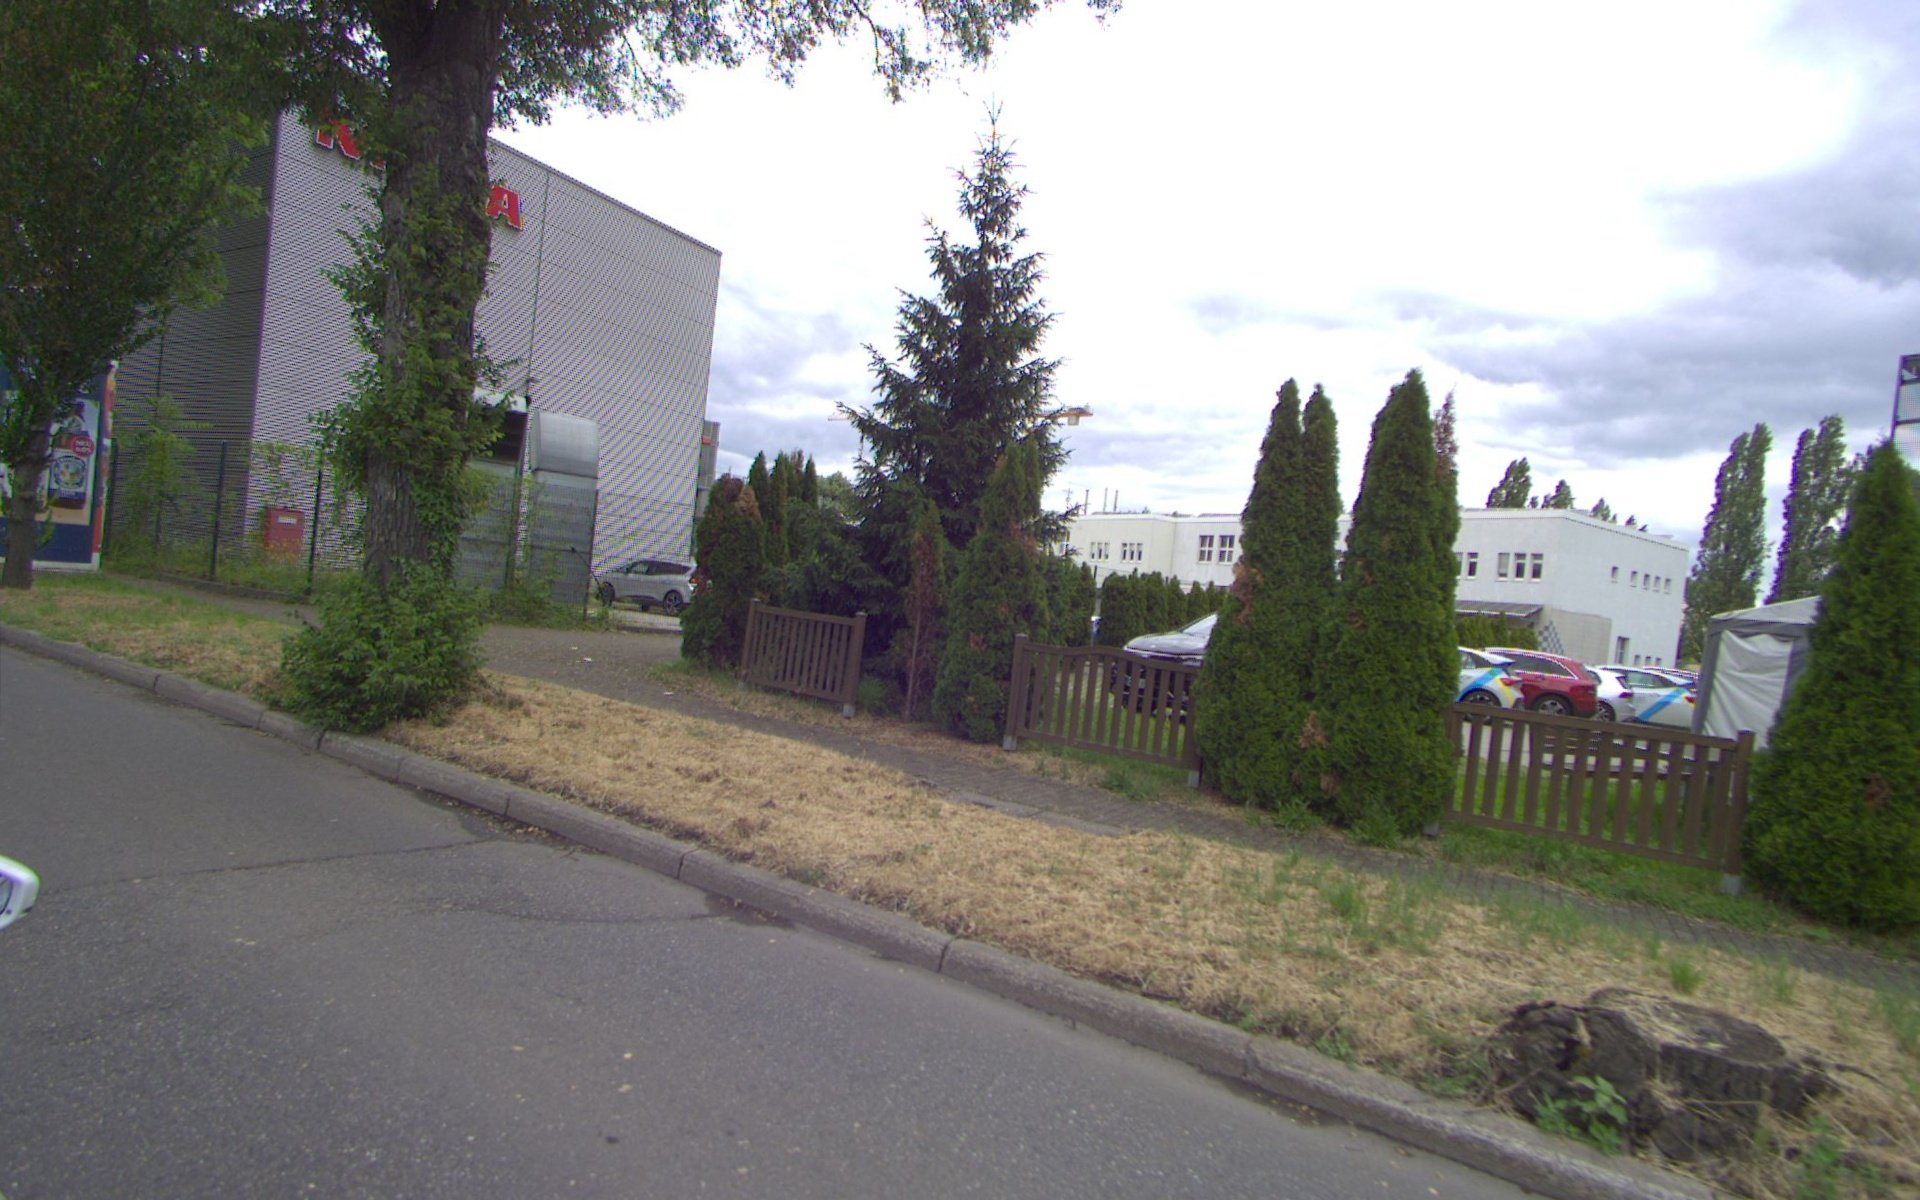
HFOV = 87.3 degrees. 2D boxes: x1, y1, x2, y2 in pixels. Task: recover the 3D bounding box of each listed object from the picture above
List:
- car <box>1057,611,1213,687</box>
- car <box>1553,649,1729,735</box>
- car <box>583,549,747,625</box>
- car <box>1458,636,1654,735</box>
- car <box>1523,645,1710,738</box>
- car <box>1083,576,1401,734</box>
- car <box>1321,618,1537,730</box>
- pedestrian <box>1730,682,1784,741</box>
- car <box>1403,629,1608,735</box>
[{"bbox_3d":[5.185,1.440,30.448,1.979,1.695,4.599,7,0,-31],"label":"car"},{"bbox_3d":[19.708,2.636,29.310,3.935,1.861,1.995,7,0,33],"label":"car"},{"bbox_3d":[-8.957,-0.404,30.520,4.557,1.695,1.997,7,0,28],"label":"car"},{"bbox_3d":[14.961,2.101,25.360,3.935,1.861,1.995,7,0,33],"label":"car"},{"bbox_3d":[17.662,2.417,27.241,3.935,1.861,1.995,7,0,33],"label":"car"},{"bbox_3d":[4.049,0.820,14.138,4.340,1.727,1.979,7,0,-38],"label":"car"},{"bbox_3d":[10.394,1.587,22.358,3.935,1.861,1.995,7,0,33],"label":"car"},{"bbox_3d":[22.218,3.088,28.066,0.709,1.489,0.790,7,1,1],"label":"pedestrian"},{"bbox_3d":[12.871,1.885,23.790,3.935,1.861,1.995,7,0,33],"label":"car"}]
